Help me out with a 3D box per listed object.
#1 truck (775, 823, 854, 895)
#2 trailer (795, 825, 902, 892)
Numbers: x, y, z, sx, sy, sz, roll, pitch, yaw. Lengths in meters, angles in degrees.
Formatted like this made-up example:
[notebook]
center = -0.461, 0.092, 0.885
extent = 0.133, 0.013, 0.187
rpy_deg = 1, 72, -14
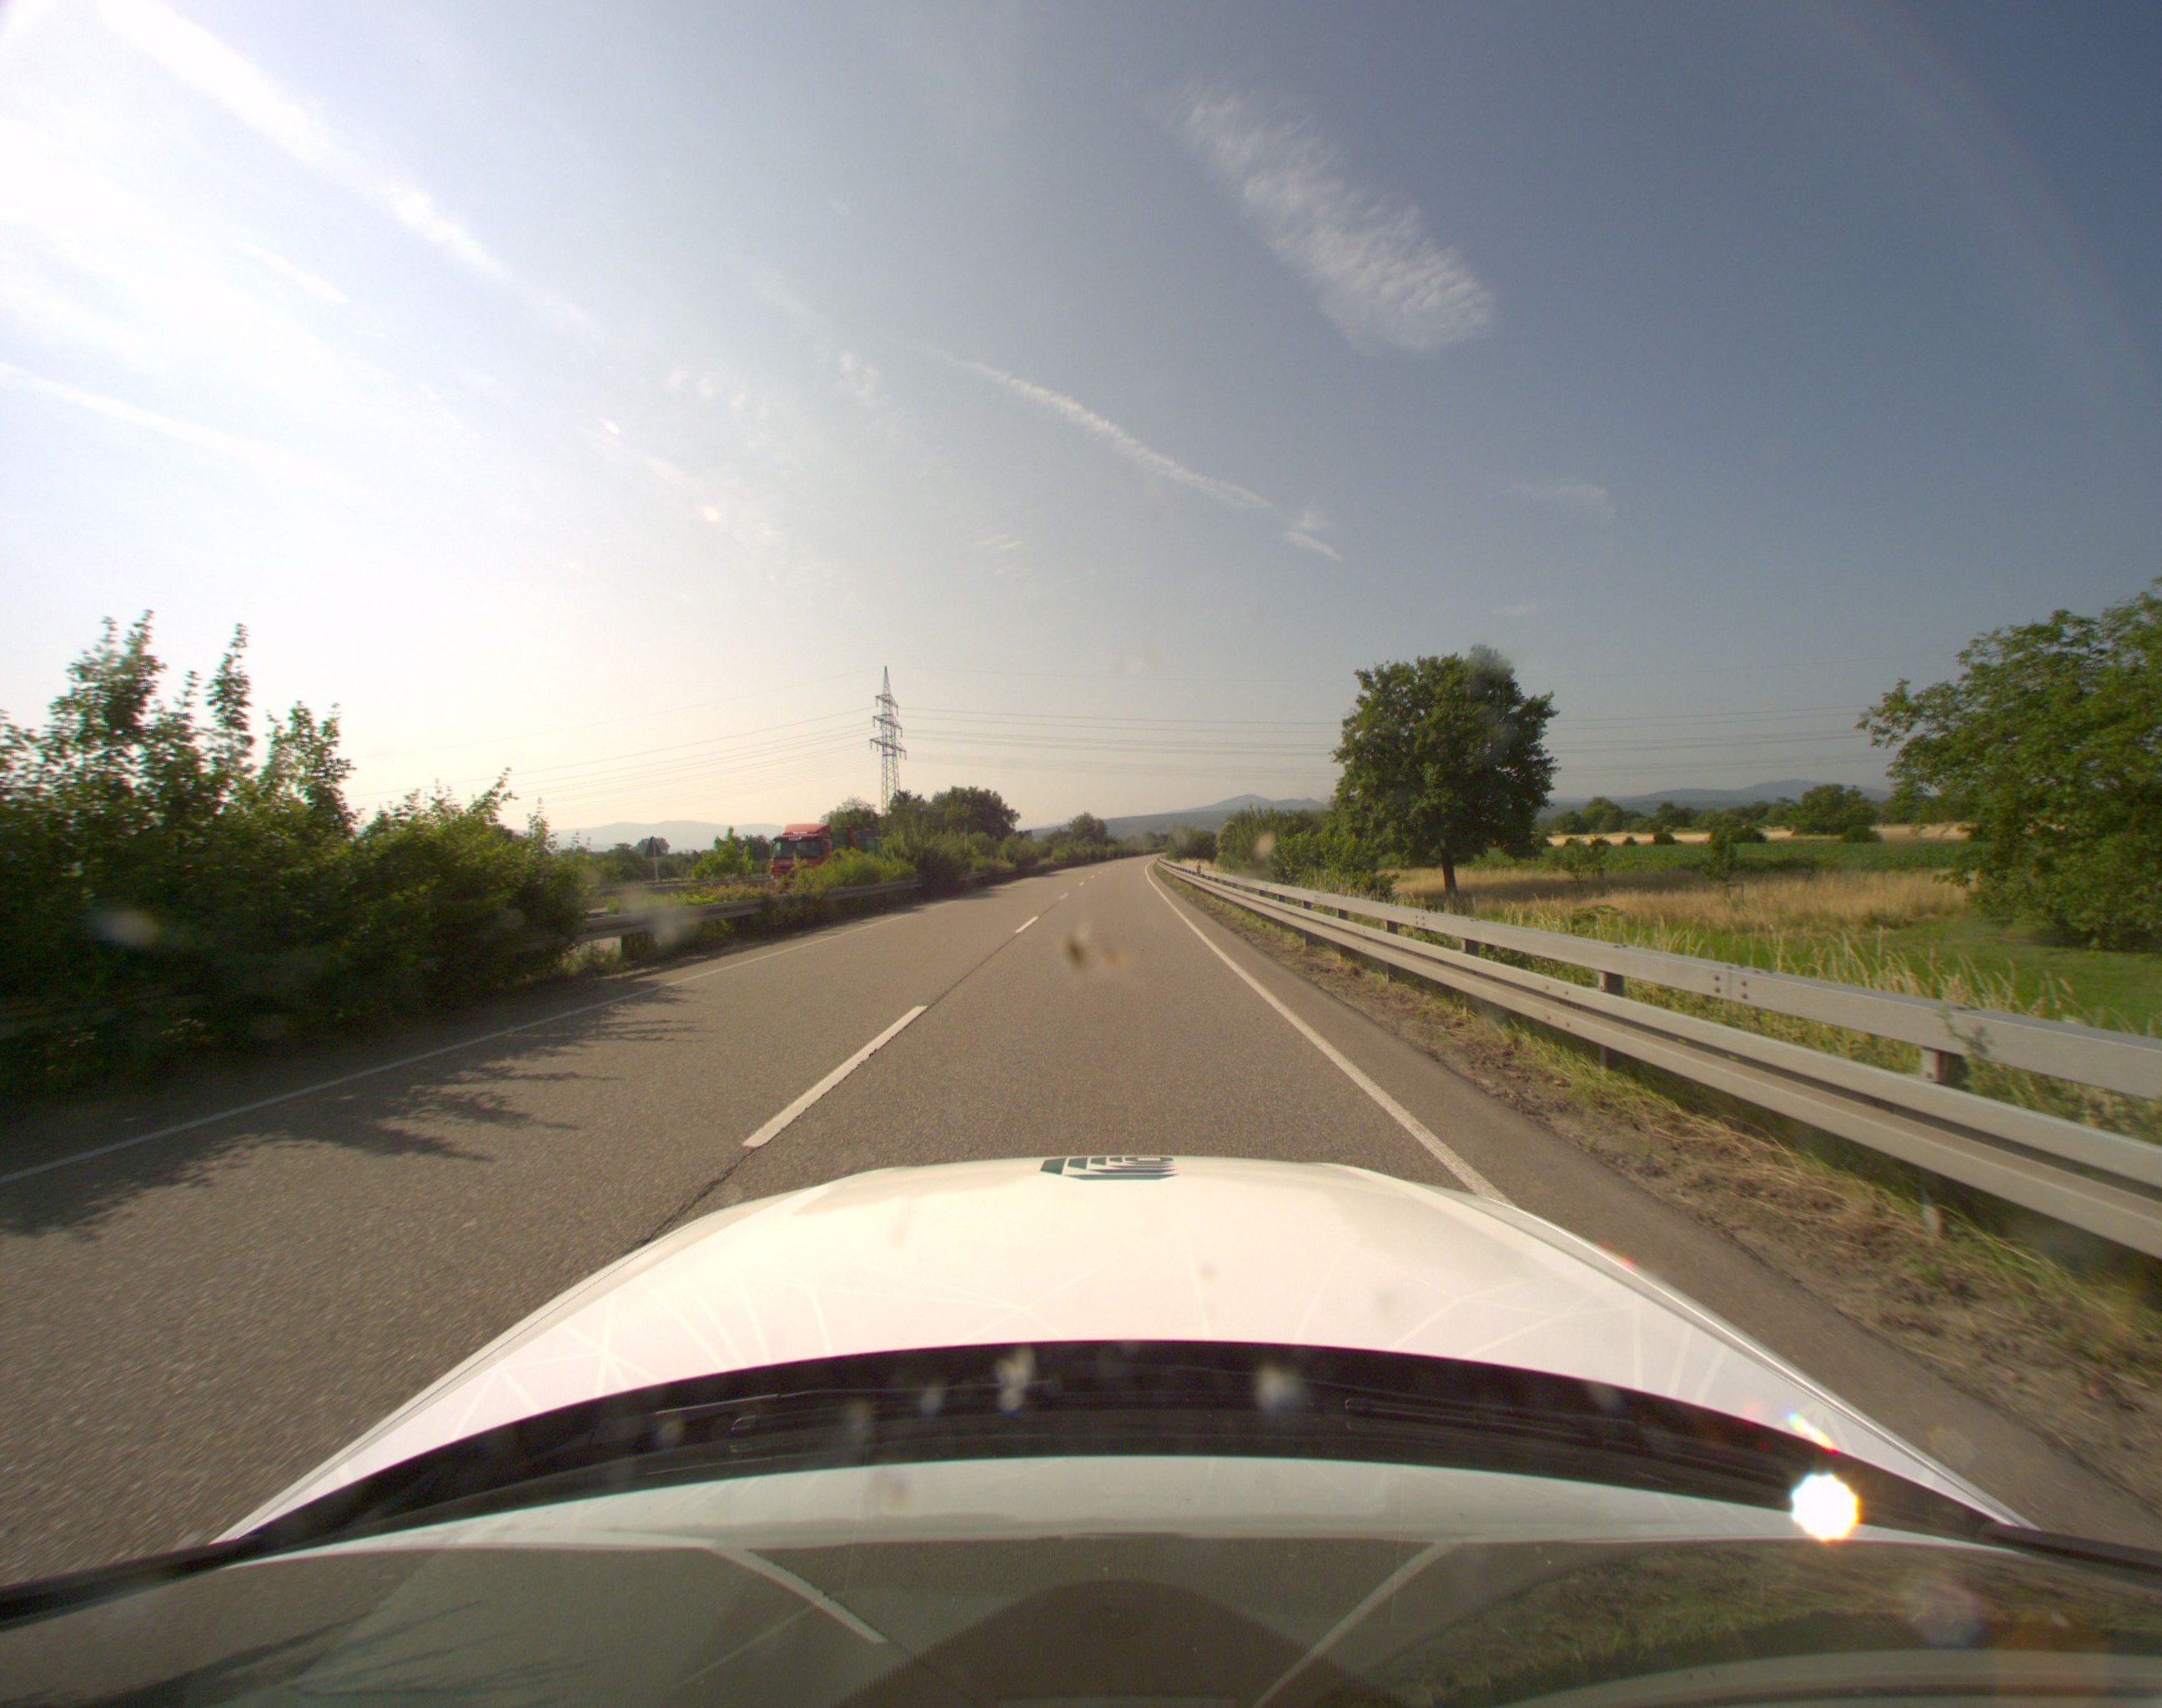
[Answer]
[truck]
center = -13.490, 0.226, 41.614
extent = 1.986, 3.375, 5.630
rpy_deg = -1, 0, 2
[trailer]
center = -13.290, 0.234, 48.036
extent = 1.986, 3.375, 13.432
rpy_deg = -1, 0, 2
